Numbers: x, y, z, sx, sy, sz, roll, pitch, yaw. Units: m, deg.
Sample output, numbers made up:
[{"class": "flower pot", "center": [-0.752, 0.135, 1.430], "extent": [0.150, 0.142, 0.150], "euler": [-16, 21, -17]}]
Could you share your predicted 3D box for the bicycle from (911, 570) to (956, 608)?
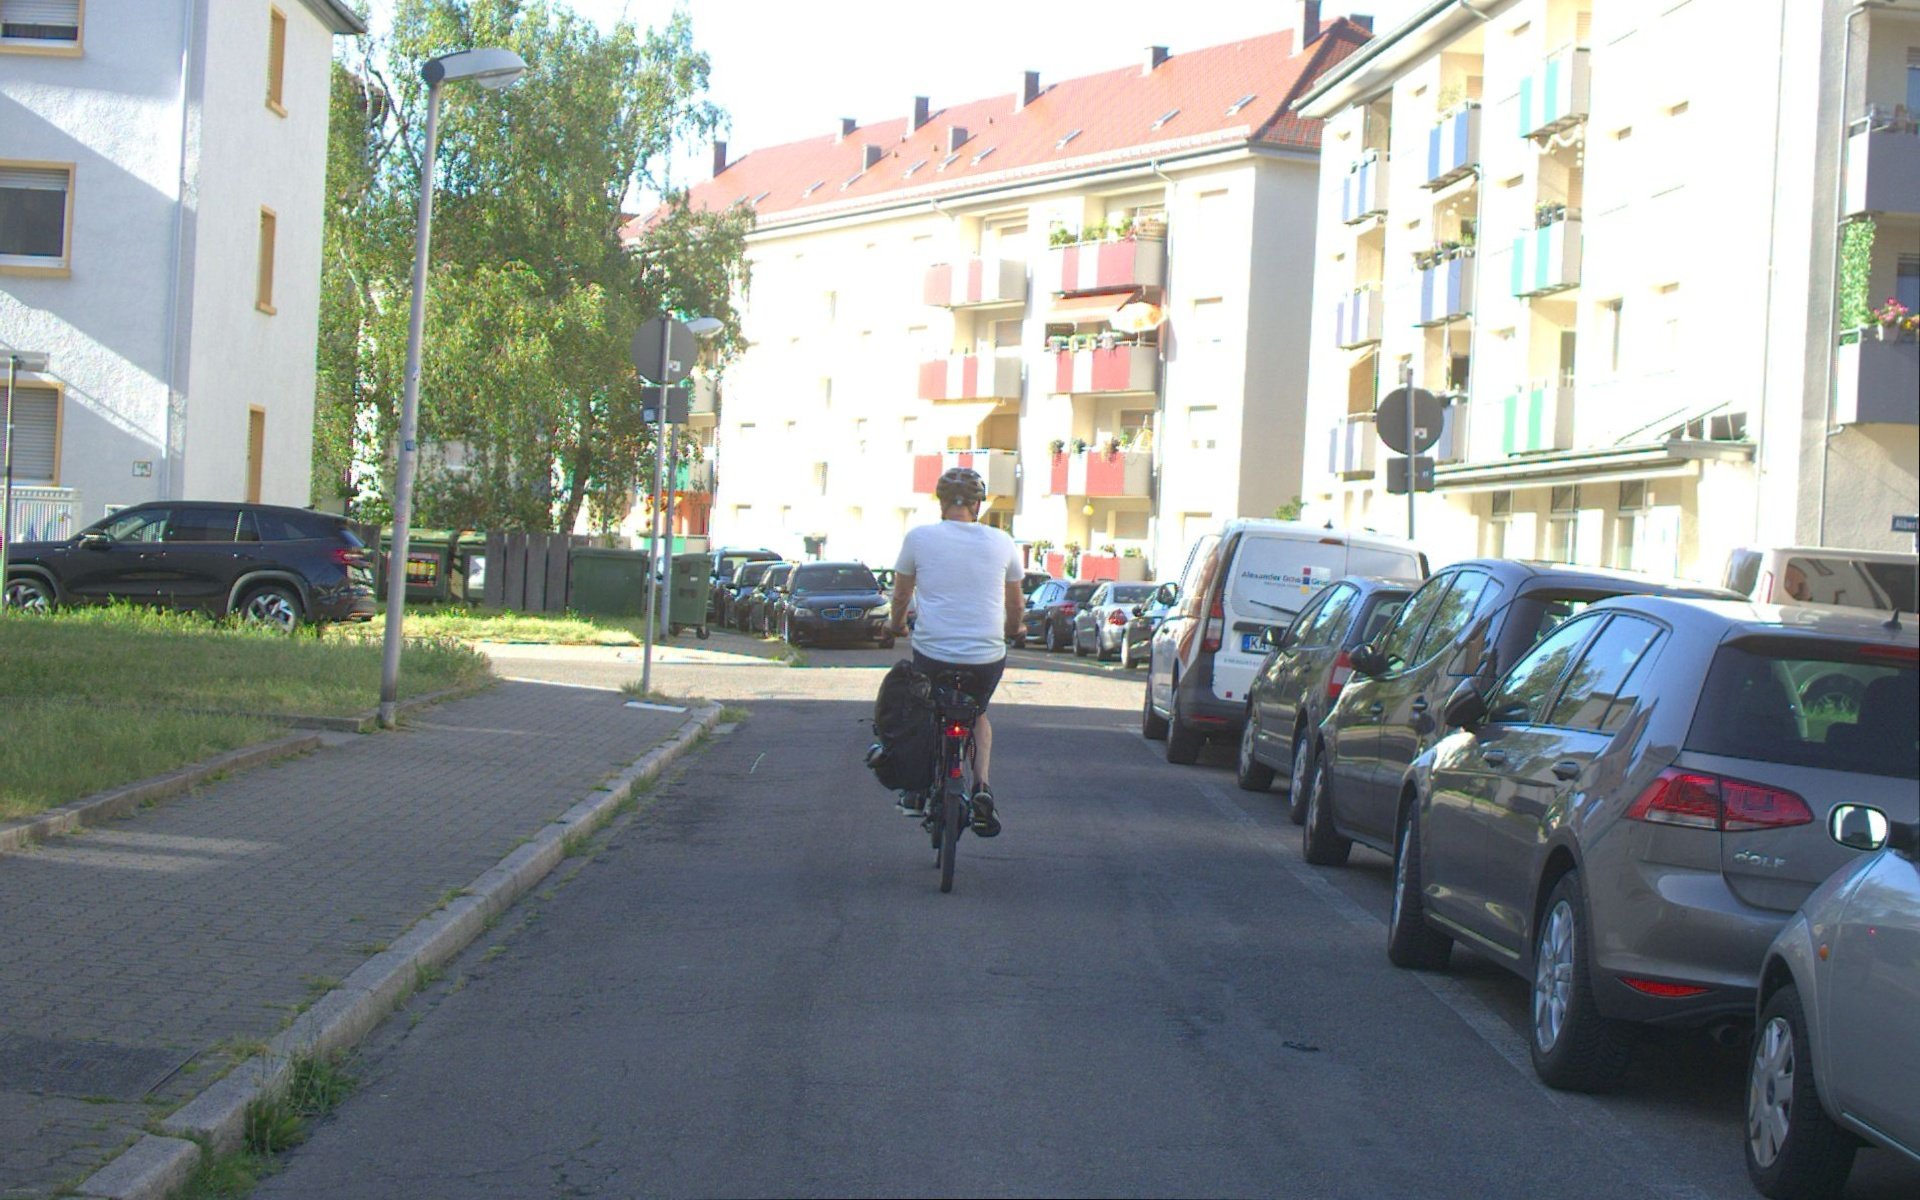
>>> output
[{"class": "bicycle", "center": [-0.755, -0.328, 97.111], "extent": [0.617, 0.975, 1.896], "euler": [-1, 3, -22]}]

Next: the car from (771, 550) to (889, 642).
[{"class": "car", "center": [-2.186, -0.095, 56.636], "extent": [1.677, 1.448, 4.621], "euler": [0, 1, -5]}]

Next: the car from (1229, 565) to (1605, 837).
[{"class": "car", "center": [2.643, 0.533, 20.659], "extent": [1.572, 1.412, 3.788], "euler": [1, 1, -2]}]

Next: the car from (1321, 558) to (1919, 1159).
[{"class": "car", "center": [2.379, 0.698, 11.190], "extent": [1.628, 1.445, 3.953], "euler": [4, 2, -4]}]

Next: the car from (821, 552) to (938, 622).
[{"class": "car", "center": [-2.081, -0.350, 87.831], "extent": [1.765, 1.630, 4.043], "euler": [1, 2, -20]}]

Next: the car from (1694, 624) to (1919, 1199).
[{"class": "car", "center": [2.781, 0.858, 7.169], "extent": [1.628, 1.389, 3.489], "euler": [5, 1, 0]}]

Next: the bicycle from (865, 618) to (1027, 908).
[{"class": "bicycle", "center": [-0.078, 0.670, 14.933], "extent": [0.627, 1.111, 1.816], "euler": [2, 1, -1]}]

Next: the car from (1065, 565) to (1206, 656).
[{"class": "car", "center": [3.169, 0.165, 62.977], "extent": [1.677, 1.442, 4.725], "euler": [3, 1, -7]}]

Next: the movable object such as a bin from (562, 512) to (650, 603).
[{"class": "movable object such as a bin", "center": [-5.689, -0.684, 55.283], "extent": [1.220, 1.375, 0.767], "euler": [4, 0, 2]}]

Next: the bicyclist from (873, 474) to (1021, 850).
[{"class": "bicyclist", "center": [-0.066, 0.260, 14.923], "extent": [0.596, 1.573, 0.907], "euler": [1, 0, -1]}]

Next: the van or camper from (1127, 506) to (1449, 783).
[{"class": "van or camper", "center": [2.358, 0.270, 25.897], "extent": [1.792, 1.741, 4.735], "euler": [5, 1, 0]}]

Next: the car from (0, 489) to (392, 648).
[{"class": "car", "center": [-8.966, -0.350, 39.667], "extent": [4.488, 1.658, 1.719], "euler": [2, -1, -1]}]

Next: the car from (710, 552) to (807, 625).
[{"class": "car", "center": [-4.108, -0.253, 69.606], "extent": [1.555, 1.437, 3.969], "euler": [0, 1, -9]}]

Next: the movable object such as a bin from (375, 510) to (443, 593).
[{"class": "movable object such as a bin", "center": [-9.681, -0.853, 60.404], "extent": [1.060, 1.430, 1.003], "euler": [1, 1, -3]}]

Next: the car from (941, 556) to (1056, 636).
[{"class": "car", "center": [0.814, -0.064, 75.466], "extent": [1.693, 1.650, 4.391], "euler": [1, -1, -10]}]

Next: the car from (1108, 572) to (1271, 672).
[{"class": "car", "center": [3.741, 0.331, 56.797], "extent": [1.677, 1.402, 4.547], "euler": [3, 1, -9]}]

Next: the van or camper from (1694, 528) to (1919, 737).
[{"class": "van or camper", "center": [10.588, 0.398, 36.325], "extent": [5.123, 2.006, 2.000], "euler": [3, 2, 0]}]

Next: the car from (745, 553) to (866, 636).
[{"class": "car", "center": [-2.815, -0.122, 61.864], "extent": [1.677, 1.437, 4.281], "euler": [0, 1, -9]}]

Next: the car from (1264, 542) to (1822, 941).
[{"class": "car", "center": [2.578, 0.560, 16.027], "extent": [1.617, 1.545, 3.612], "euler": [4, 1, -5]}]

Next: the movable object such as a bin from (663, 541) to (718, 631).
[{"class": "movable object such as a bin", "center": [-4.307, -0.232, 54.936], "extent": [0.775, 1.388, 1.417], "euler": [3, 0, -3]}]

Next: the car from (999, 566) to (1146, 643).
[{"class": "car", "center": [2.195, 0.066, 68.599], "extent": [1.693, 1.427, 4.689], "euler": [1, 0, -14]}]
